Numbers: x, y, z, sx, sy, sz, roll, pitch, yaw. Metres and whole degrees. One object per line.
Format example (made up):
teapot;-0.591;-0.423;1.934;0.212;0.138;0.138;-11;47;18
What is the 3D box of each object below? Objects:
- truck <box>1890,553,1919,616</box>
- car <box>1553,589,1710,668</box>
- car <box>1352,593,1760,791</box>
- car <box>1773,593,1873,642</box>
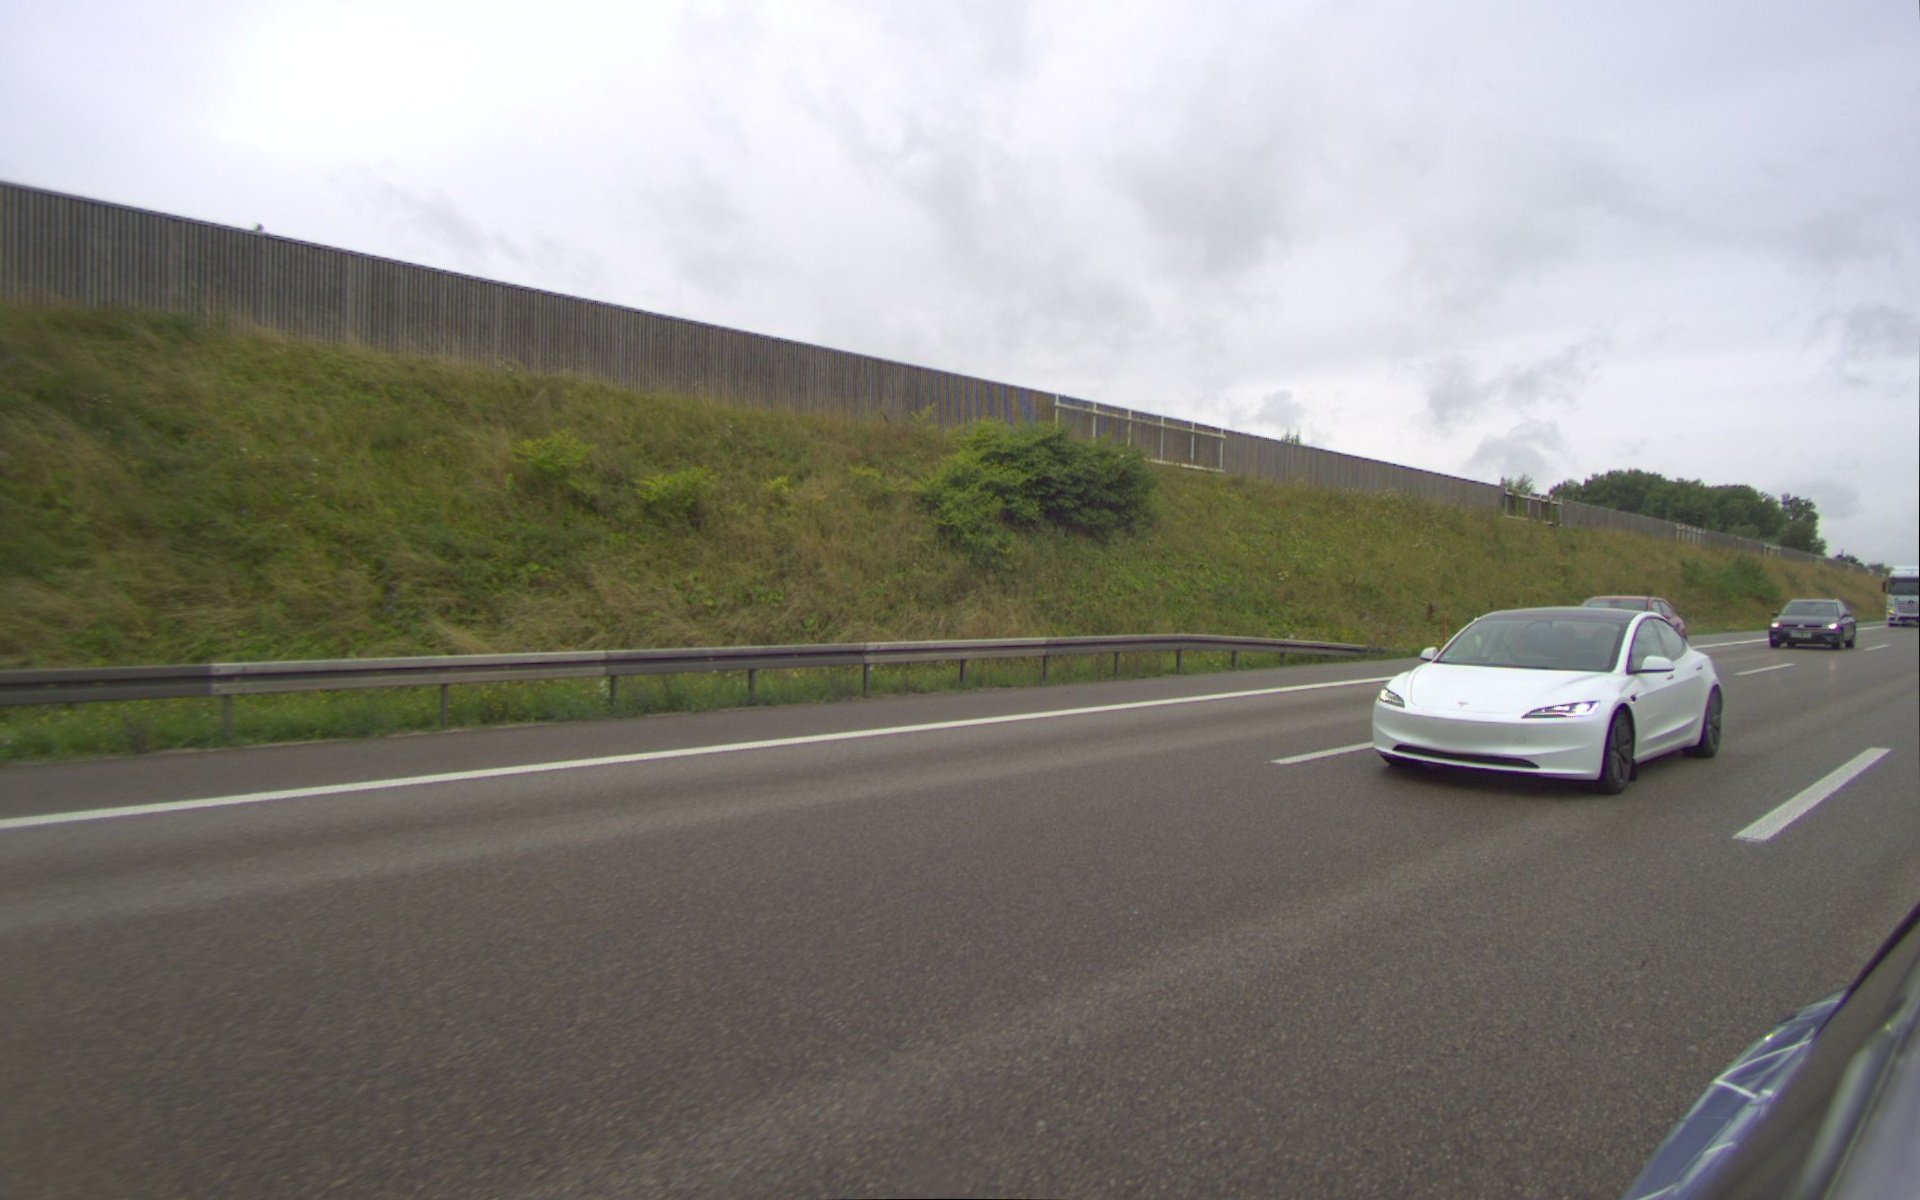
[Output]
truck;64.040;-1.034;67.091;6.840;4.077;3.084;-1;0;-43
car;14.622;0.548;21.979;3.930;1.554;1.876;-1;0;-41
car;5.726;0.641;9.440;4.729;1.380;1.877;-1;0;-41
car;28.886;0.528;33.827;4.408;1.508;1.927;-1;0;-41
